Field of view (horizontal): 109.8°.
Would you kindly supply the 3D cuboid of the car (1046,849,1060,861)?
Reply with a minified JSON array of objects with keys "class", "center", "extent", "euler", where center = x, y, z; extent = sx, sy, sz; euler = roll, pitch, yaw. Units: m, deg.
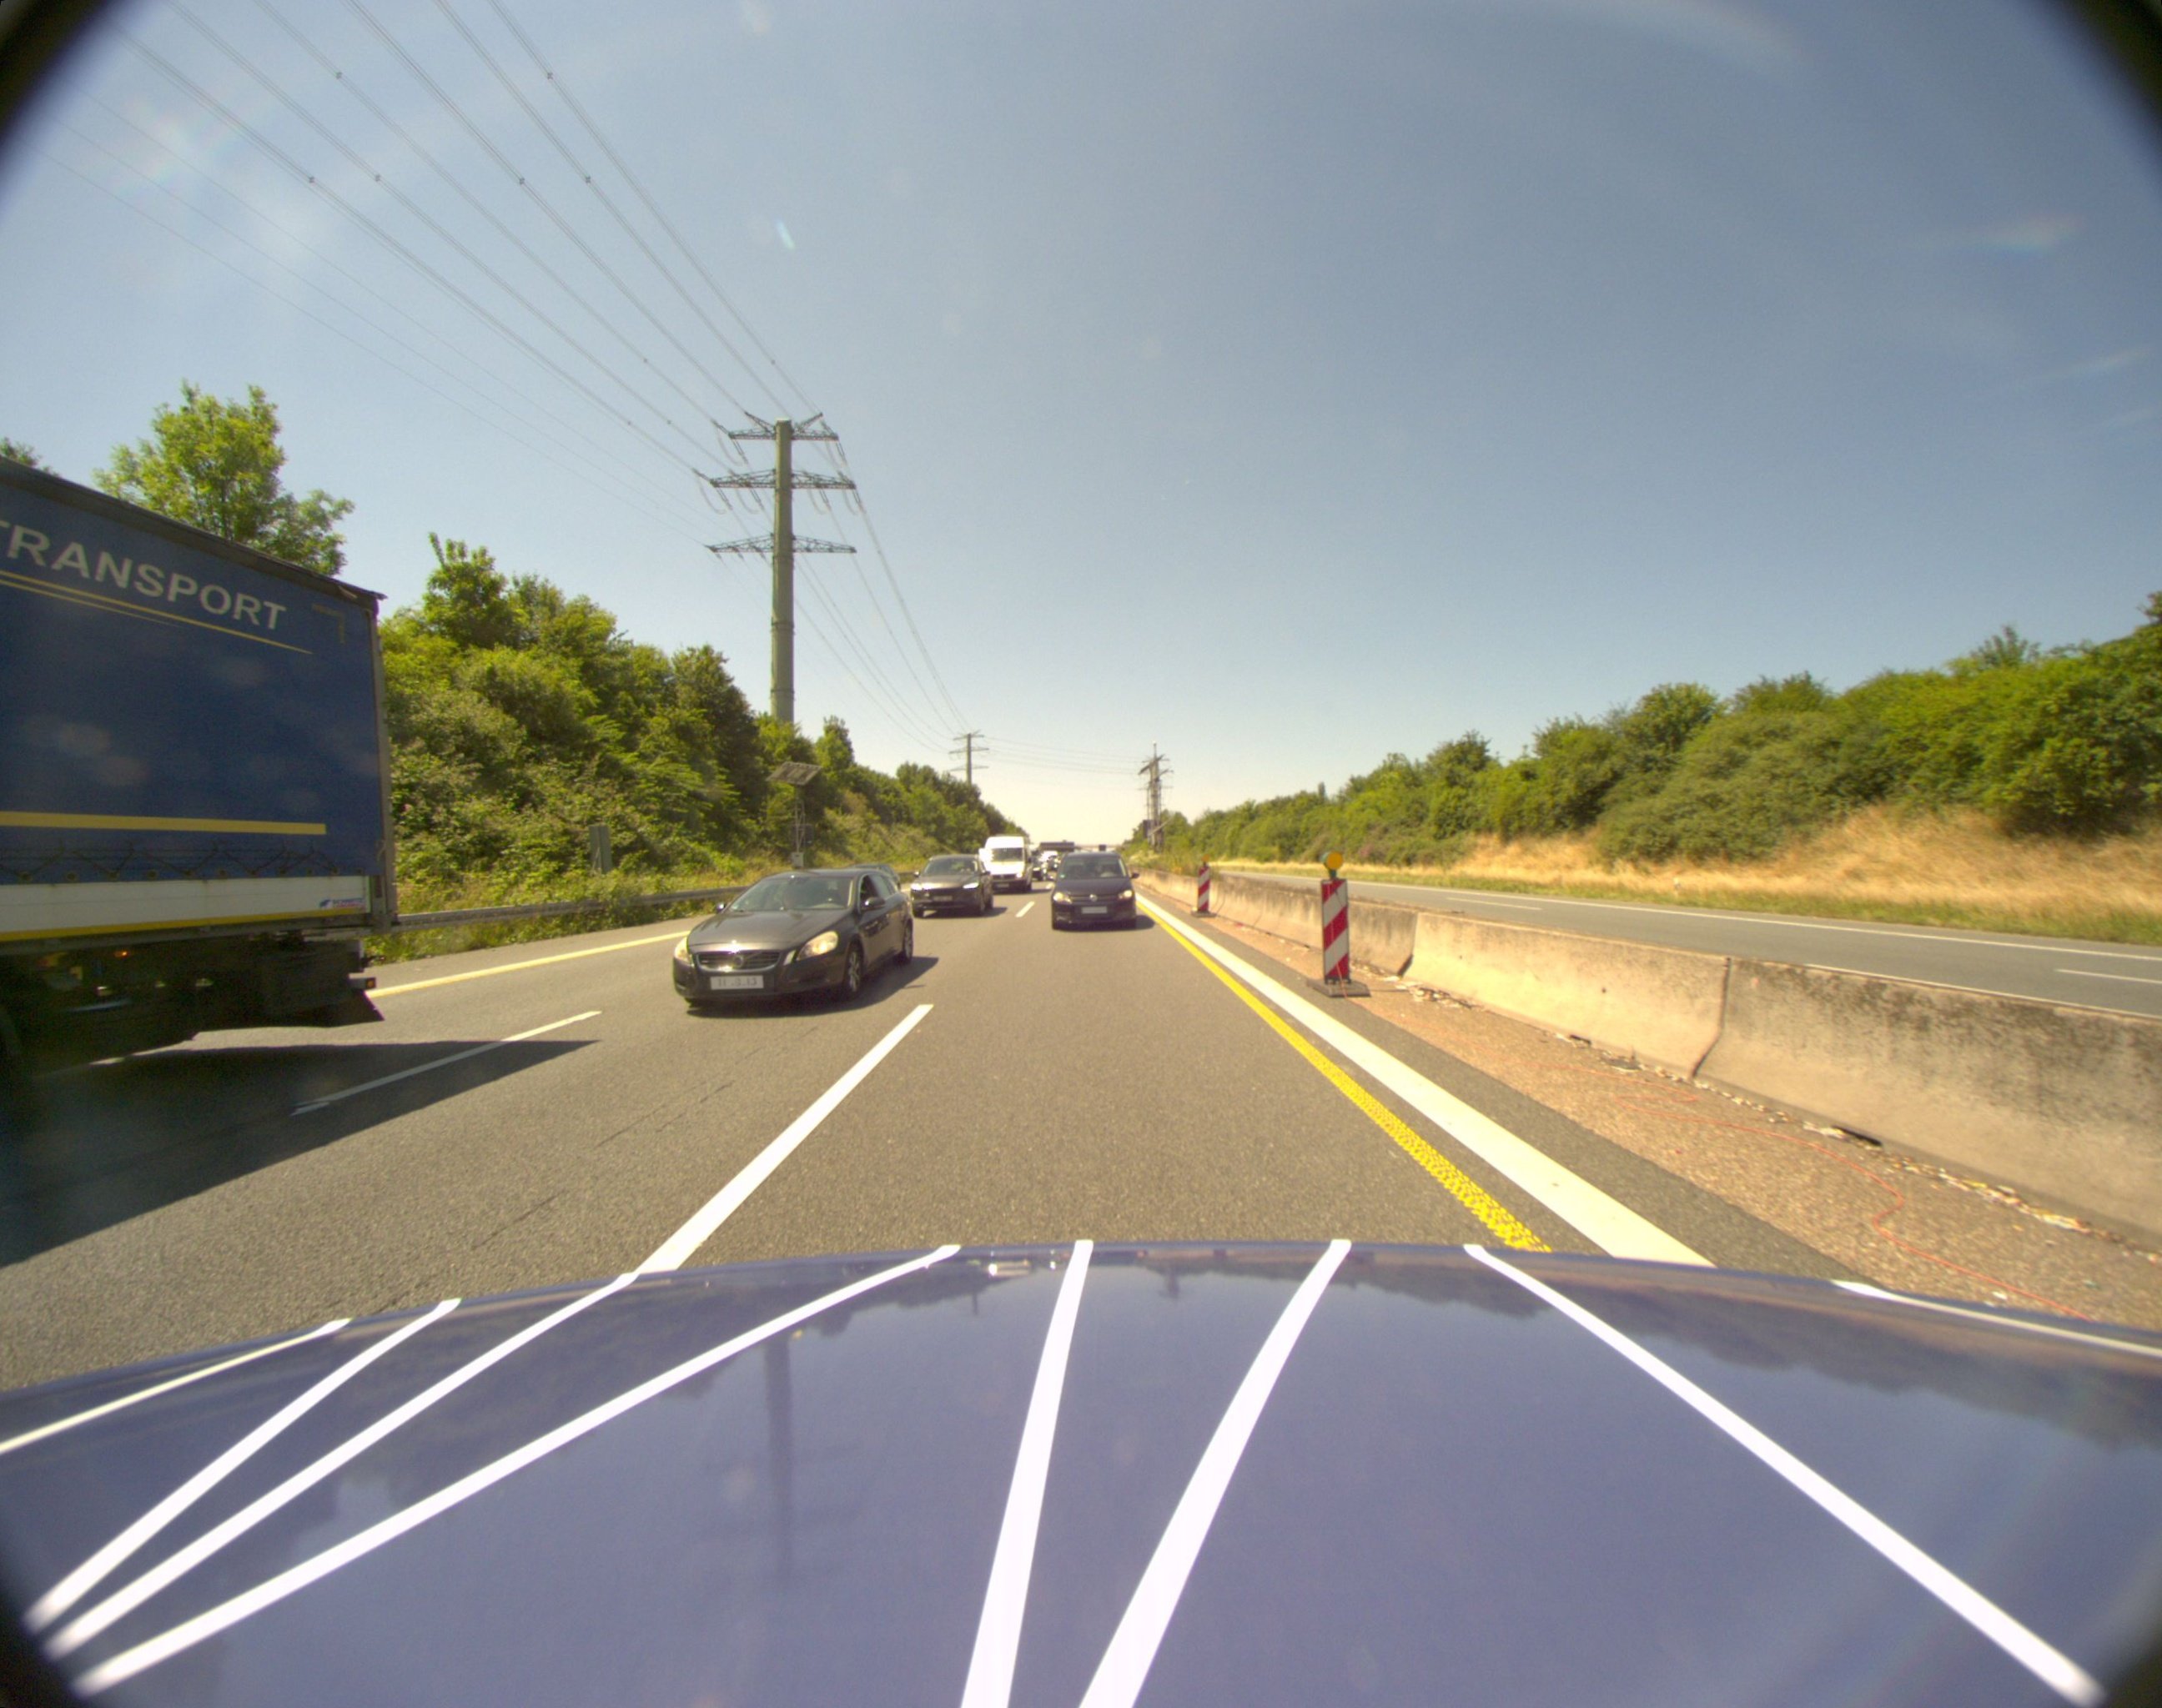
[{"class":"car","center":[-3.886,0.151,107.514],"extent":[1.720,1.510,3.874],"euler":[-2,1,1]}]

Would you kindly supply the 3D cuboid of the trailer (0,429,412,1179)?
[{"class":"trailer","center":[-7.488,-0.222,0.333],"extent":[2.774,4.239,12.877],"euler":[-2,1,0]}]

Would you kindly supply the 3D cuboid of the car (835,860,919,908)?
[{"class":"car","center":[-7.586,1.061,28.741],"extent":[1.795,1.503,4.853],"euler":[-2,1,0]}]

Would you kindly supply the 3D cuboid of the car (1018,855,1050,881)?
[{"class":"car","center":[-3.006,0.881,49.526],"extent":[1.720,1.510,3.874],"euler":[-2,1,1]}]

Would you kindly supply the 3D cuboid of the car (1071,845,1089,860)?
[{"class":"car","center":[-0.120,-0.158,90.571],"extent":[1.973,1.682,3.874],"euler":[-2,1,1]}]

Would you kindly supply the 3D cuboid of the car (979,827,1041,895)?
[{"class":"car","center":[-3.067,0.269,34.221],"extent":[2.042,2.703,6.705],"euler":[-2,1,0]}]

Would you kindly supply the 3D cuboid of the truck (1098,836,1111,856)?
[{"class":"truck","center":[4.005,-1.353,129.051],"extent":[1.892,3.263,5.590],"euler":[-2,1,1]}]

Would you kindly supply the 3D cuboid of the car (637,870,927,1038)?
[{"class":"car","center":[-3.328,1.013,9.562],"extent":[1.799,1.411,4.509],"euler":[-2,1,0]}]

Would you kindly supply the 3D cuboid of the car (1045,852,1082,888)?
[{"class":"car","center":[-0.847,0.740,38.581],"extent":[1.700,1.641,4.219],"euler":[-2,1,0]}]

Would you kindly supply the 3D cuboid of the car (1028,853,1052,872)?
[{"class":"car","center":[-3.449,0.713,64.300],"extent":[1.720,1.510,3.874],"euler":[-2,1,1]}]

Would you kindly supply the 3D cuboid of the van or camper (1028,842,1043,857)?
[{"class":"van or camper","center":[-7.741,-0.759,129.696],"extent":[1.978,2.511,4.369],"euler":[-2,1,1]}]

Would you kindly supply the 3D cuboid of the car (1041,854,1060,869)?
[{"class":"car","center":[-3.242,0.776,80.967],"extent":[1.720,1.510,3.874],"euler":[-2,1,1]}]

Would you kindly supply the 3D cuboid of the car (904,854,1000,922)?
[{"class":"car","center":[-3.480,0.865,21.284],"extent":[1.893,1.602,4.219],"euler":[-2,1,0]}]

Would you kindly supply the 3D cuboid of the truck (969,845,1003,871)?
[{"class":"truck","center":[-8.703,0.323,69.936],"extent":[2.253,2.155,5.728],"euler":[-2,1,1]}]

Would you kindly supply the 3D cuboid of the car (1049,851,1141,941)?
[{"class":"car","center":[0.280,0.808,16.674],"extent":[1.700,1.641,4.219],"euler":[-2,1,0]}]

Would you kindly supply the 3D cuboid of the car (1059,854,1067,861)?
[{"class":"car","center":[-4.143,0.772,179.351],"extent":[1.720,1.510,3.874],"euler":[-2,1,1]}]
